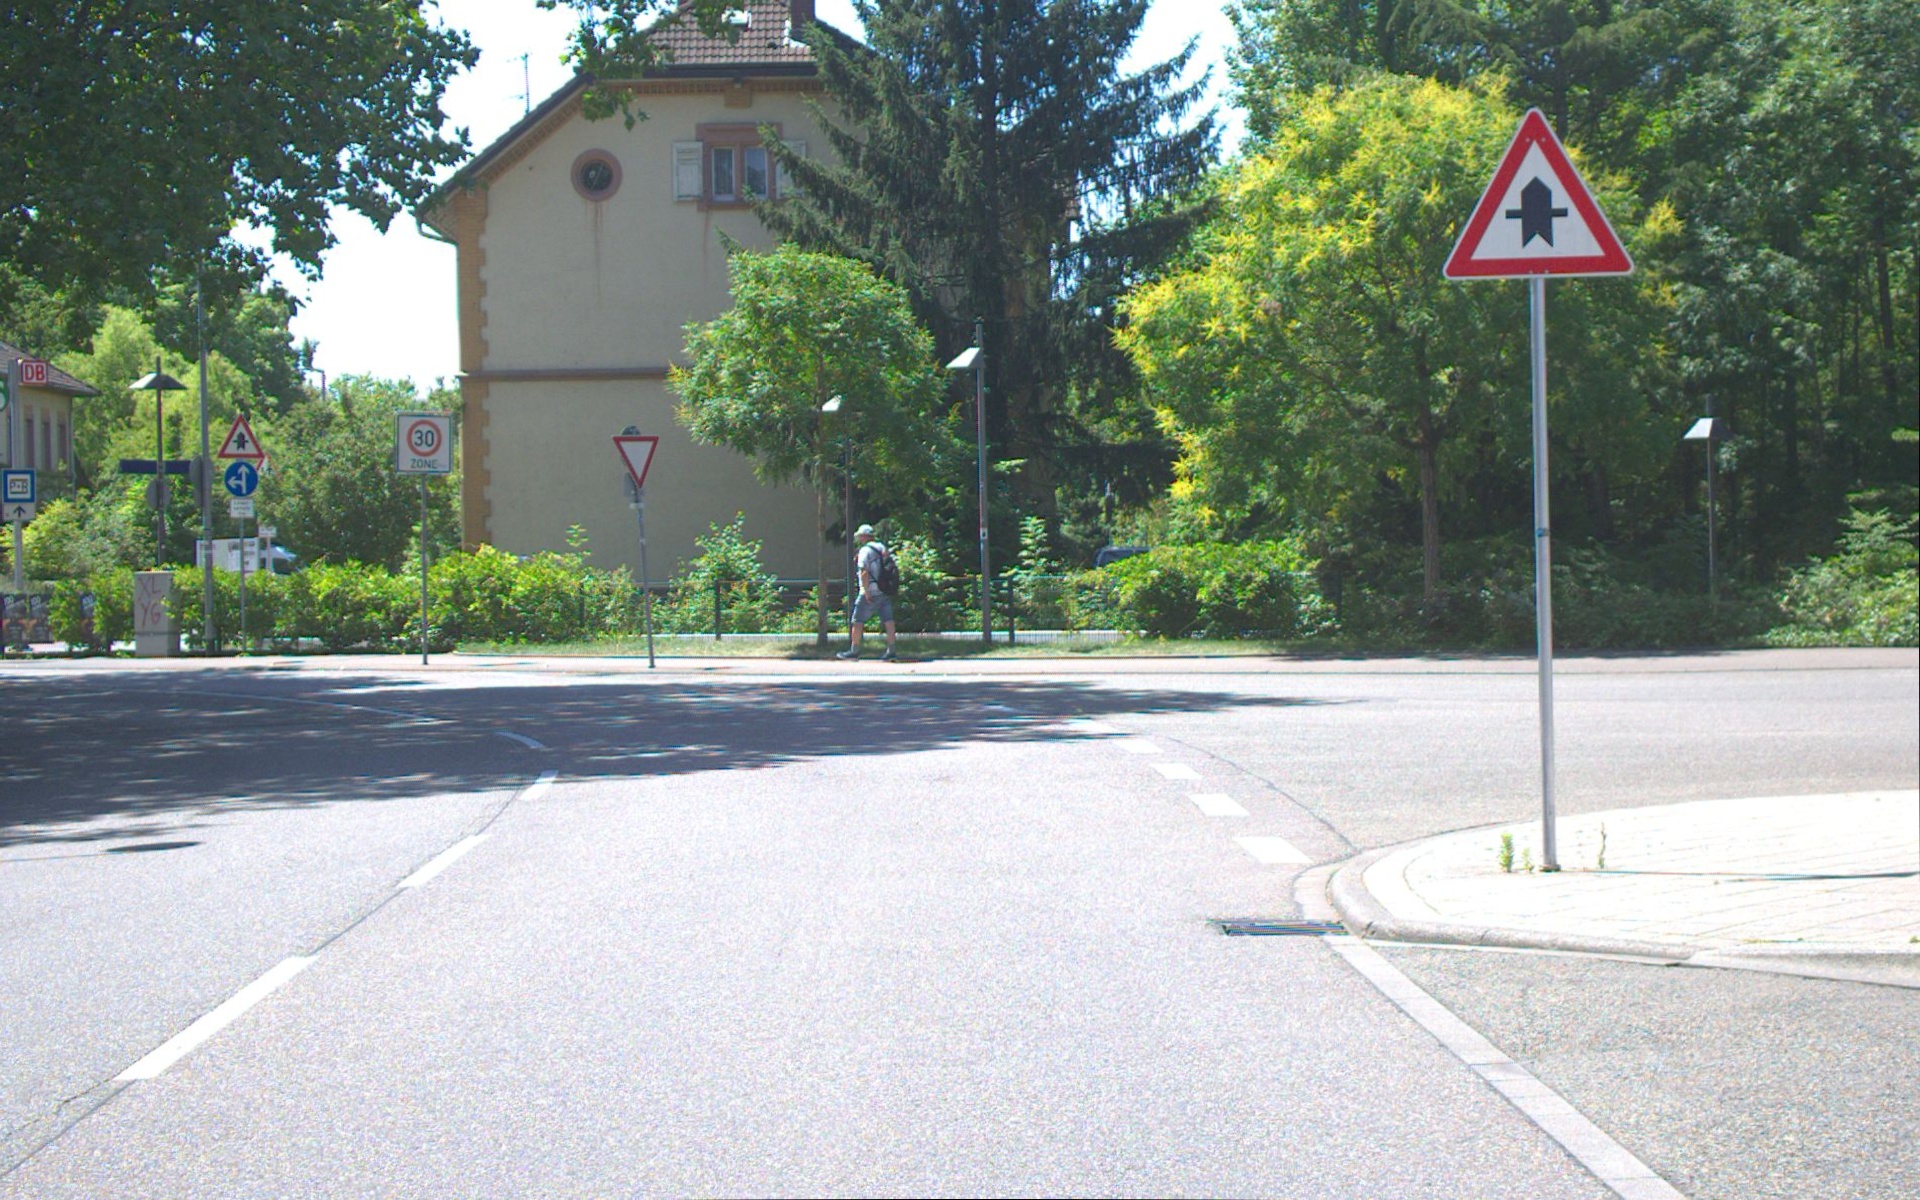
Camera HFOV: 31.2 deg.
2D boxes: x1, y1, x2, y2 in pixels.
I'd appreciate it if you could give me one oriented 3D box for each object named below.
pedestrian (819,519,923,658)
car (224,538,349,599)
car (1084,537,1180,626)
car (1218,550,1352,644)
[{"bbox_3d":[-1.185,-0.155,45.751,0.912,1.765,0.915,-6,4,-40],"label":"pedestrian"},{"bbox_3d":[-26.666,-1.250,136.276,4.444,2.314,2.202,-1,1,2],"label":"car"},{"bbox_3d":[3.117,-0.343,62.049,1.650,1.531,3.969,-1,1,3],"label":"car"},{"bbox_3d":[5.399,-0.075,57.532,1.764,1.494,4.500,-1,1,0],"label":"car"}]
